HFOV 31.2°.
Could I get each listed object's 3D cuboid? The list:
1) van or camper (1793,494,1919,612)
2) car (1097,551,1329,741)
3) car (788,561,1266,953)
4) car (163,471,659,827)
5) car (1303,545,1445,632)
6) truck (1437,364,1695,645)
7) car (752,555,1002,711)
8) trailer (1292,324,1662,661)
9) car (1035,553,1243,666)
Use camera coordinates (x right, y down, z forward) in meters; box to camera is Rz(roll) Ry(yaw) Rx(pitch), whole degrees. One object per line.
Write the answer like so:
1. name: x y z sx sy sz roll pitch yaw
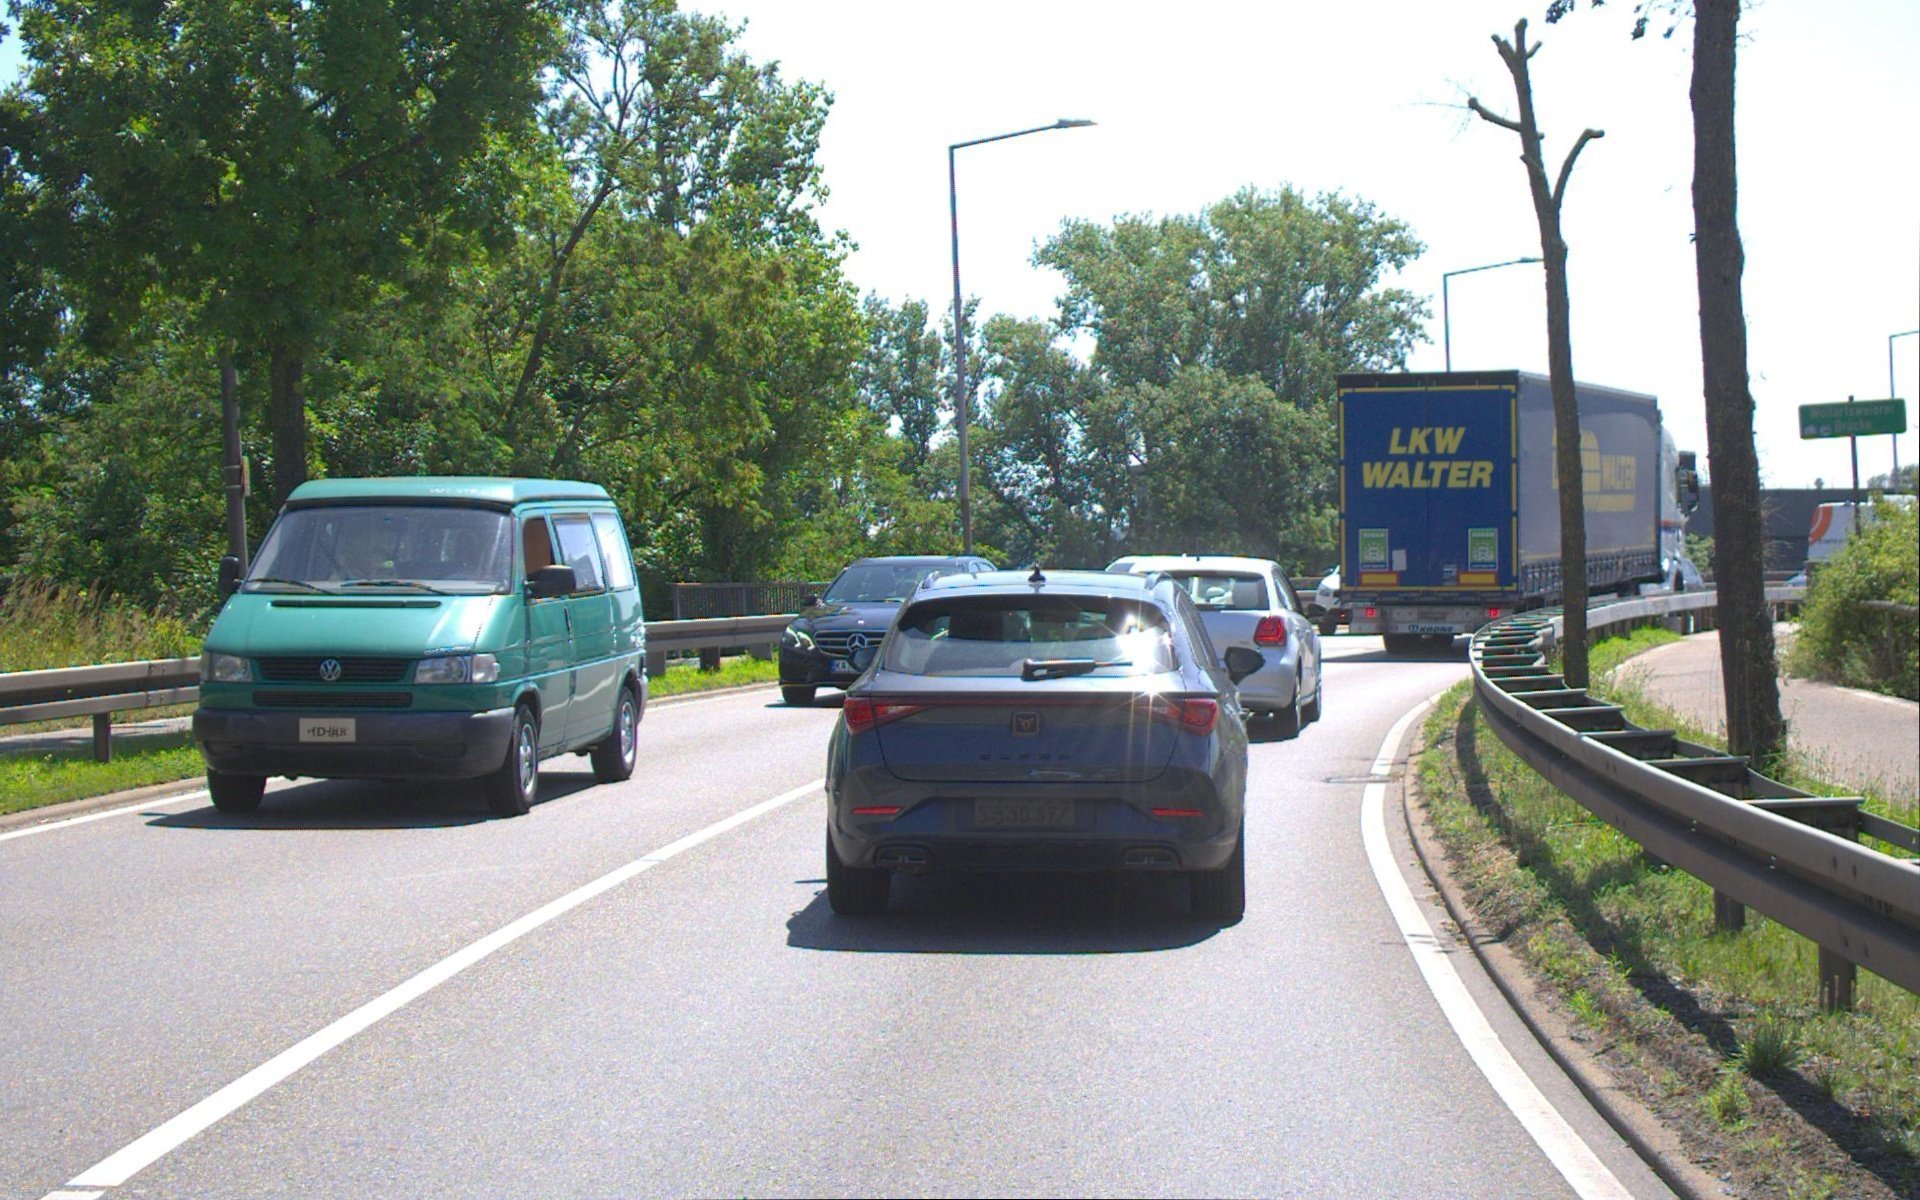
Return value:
1. van or camper: 21.642 -1.115 81.812 2.206 2.702 5.917 0 1 27
2. car: 2.169 0.339 28.743 1.593 1.456 3.543 1 1 9
3. car: 0.352 0.583 15.155 1.846 1.493 3.758 0 1 3
4. car: -3.207 0.233 21.115 1.830 1.932 4.775 0 1 6
5. car: 7.634 -0.242 63.069 1.747 1.541 4.389 0 1 18
6. truck: 10.673 -1.575 59.910 3.173 4.569 7.389 1 0 20
7. car: -0.760 0.281 34.928 1.846 1.462 4.740 0 1 7
8. trailer: 8.348 -1.551 53.532 3.137 4.598 12.935 1 1 20
9. car: 2.501 0.088 46.902 1.702 1.442 4.455 1 1 18
